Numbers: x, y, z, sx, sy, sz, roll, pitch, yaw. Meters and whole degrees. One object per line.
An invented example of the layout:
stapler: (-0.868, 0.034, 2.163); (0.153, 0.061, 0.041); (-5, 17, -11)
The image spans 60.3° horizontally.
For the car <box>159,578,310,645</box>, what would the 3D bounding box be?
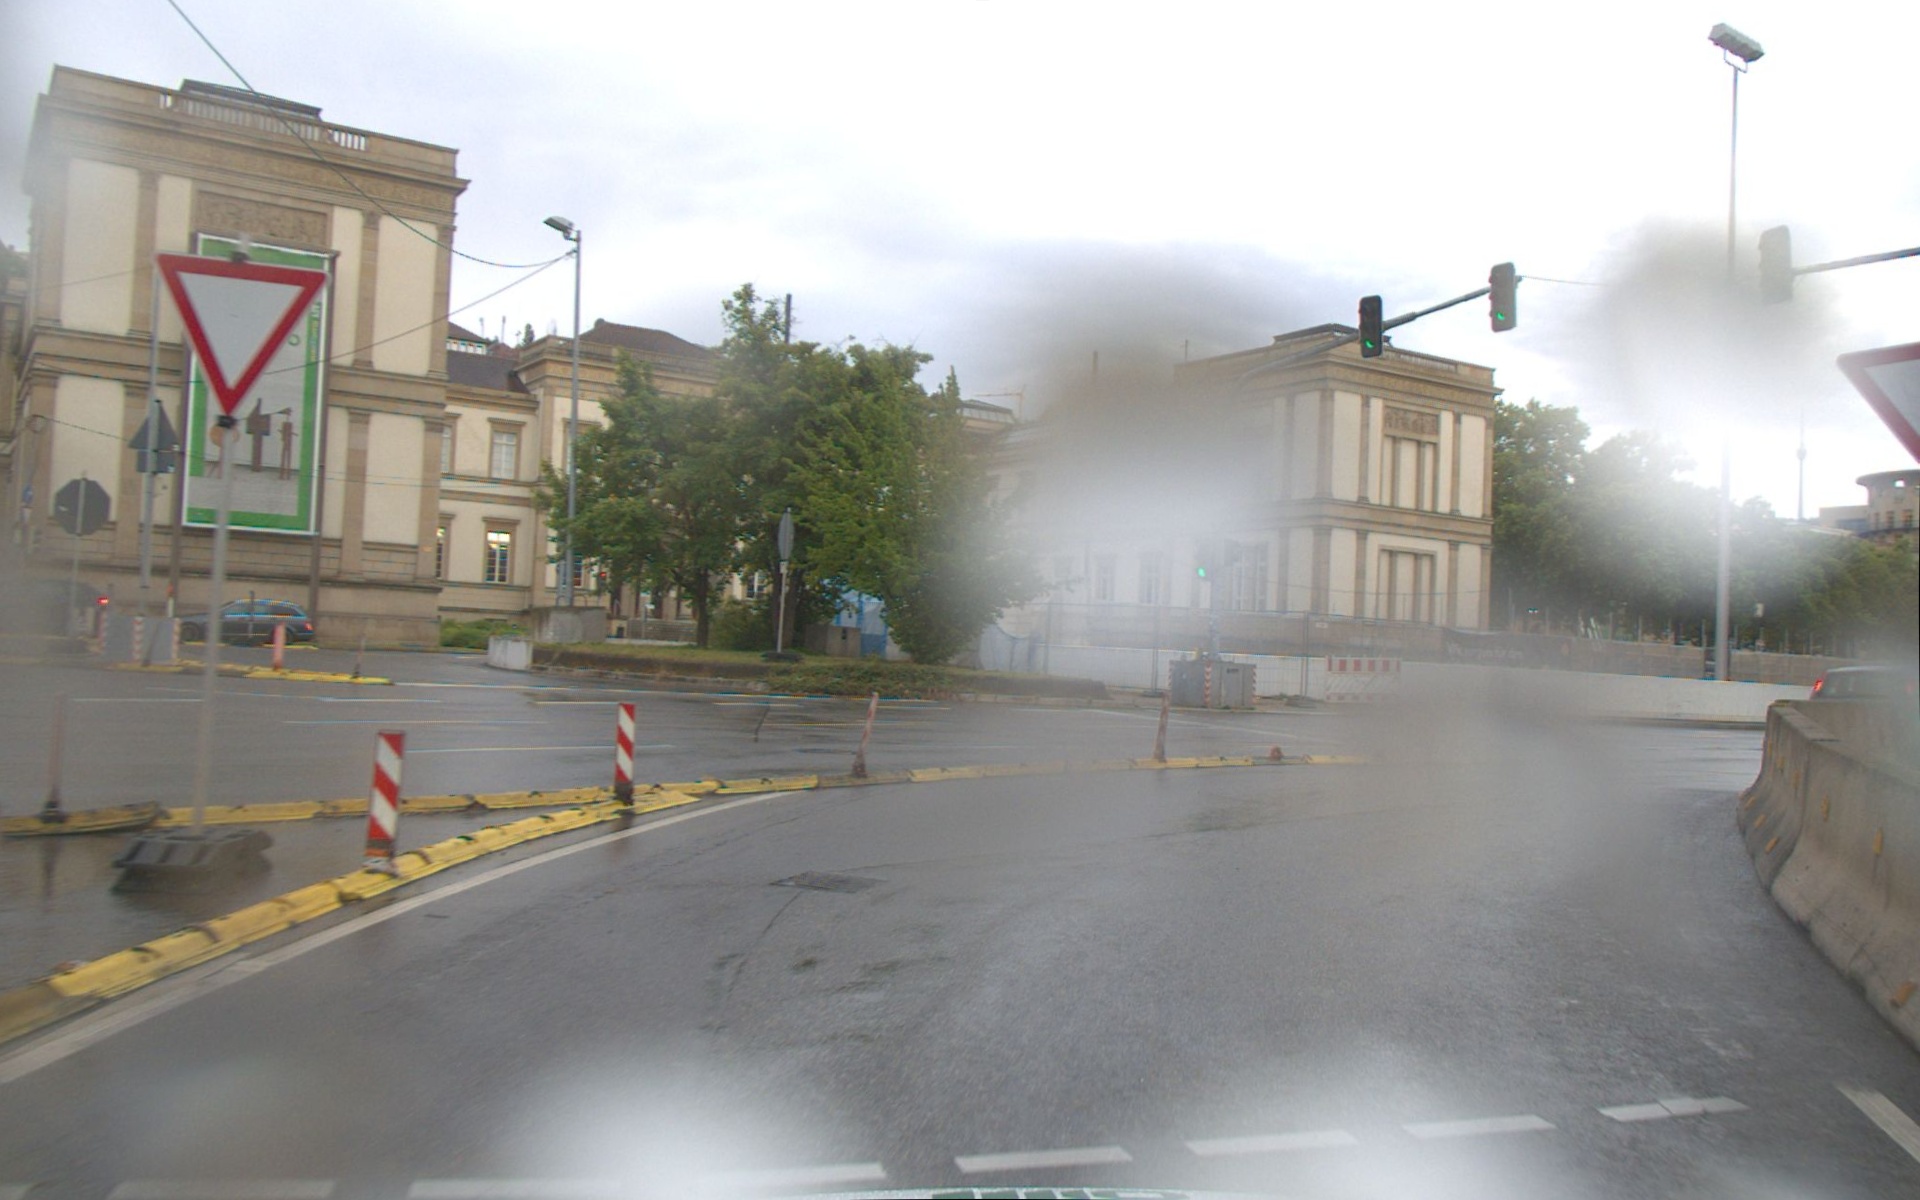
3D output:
car: (-23.106, 0.365, 52.699); (4.139, 1.730, 1.804); (5, -1, -31)

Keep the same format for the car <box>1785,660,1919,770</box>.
car: (13.586, 1.660, 23.945); (3.722, 1.452, 1.651); (4, -4, -40)

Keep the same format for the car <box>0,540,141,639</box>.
car: (-21.800, -0.317, 38.410); (4.637, 2.048, 1.975); (6, -1, -36)
